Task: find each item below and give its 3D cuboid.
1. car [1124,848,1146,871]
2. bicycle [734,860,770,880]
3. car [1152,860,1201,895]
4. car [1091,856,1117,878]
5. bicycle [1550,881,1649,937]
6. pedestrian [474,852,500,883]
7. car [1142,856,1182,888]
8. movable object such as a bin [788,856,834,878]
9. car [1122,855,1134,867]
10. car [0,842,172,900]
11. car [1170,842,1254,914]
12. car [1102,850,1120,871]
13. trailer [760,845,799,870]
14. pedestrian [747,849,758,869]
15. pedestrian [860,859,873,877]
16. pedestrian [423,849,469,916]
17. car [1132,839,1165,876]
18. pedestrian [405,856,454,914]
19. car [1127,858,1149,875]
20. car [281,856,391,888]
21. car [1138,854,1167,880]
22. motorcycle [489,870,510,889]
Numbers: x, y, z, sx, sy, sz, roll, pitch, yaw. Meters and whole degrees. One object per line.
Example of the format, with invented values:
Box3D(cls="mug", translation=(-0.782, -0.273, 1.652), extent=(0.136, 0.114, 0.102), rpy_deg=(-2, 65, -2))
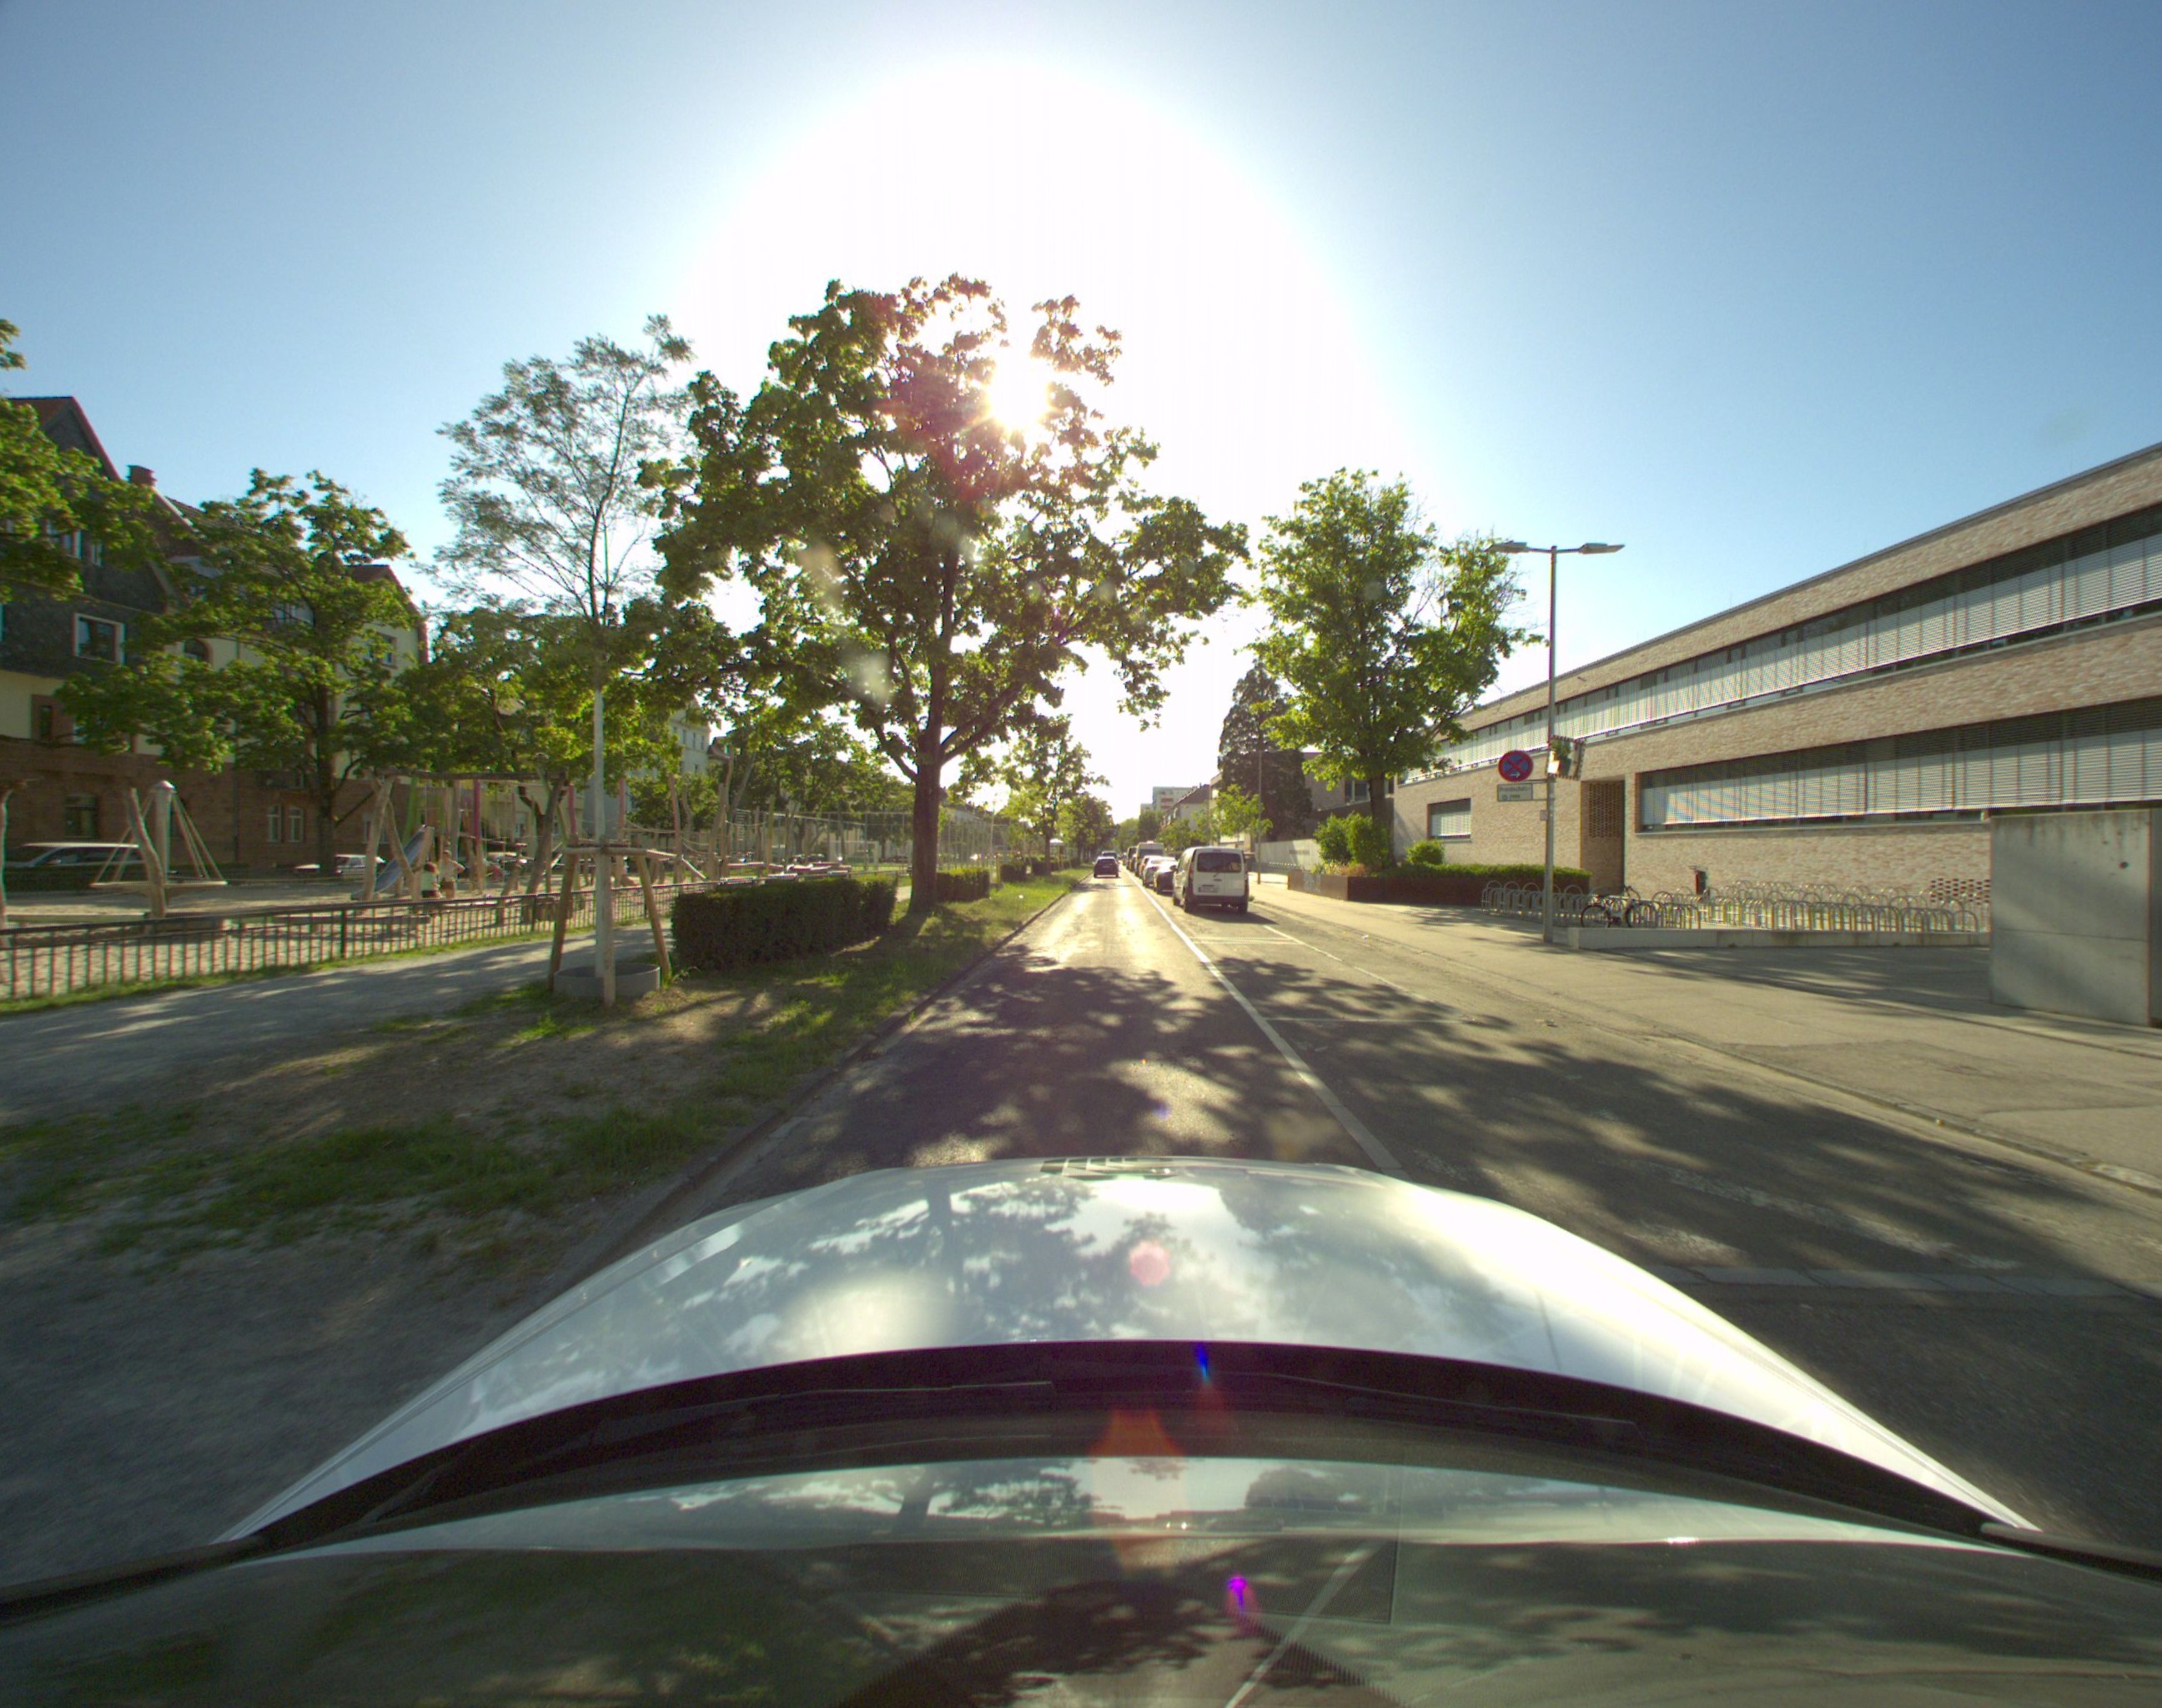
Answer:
Box3D(cls="car", translation=(5.970, 0.605, 90.409), extent=(2.108, 2.516, 6.532), rpy_deg=(0, 0, 1))
Box3D(cls="bicycle", translation=(-18.300, 0.896, 45.357), extent=(1.788, 1.107, 0.500), rpy_deg=(1, 0, 0))
Box3D(cls="car", translation=(3.927, 0.940, 34.128), extent=(1.695, 1.325, 4.131), rpy_deg=(1, 0, 2))
Box3D(cls="car", translation=(1.690, 0.931, 58.191), extent=(1.787, 1.510, 4.003), rpy_deg=(0, 0, 3))
Box3D(cls="bicycle", translation=(10.407, 1.094, 16.360), extent=(1.663, 1.030, 0.500), rpy_deg=(2, 0, -1))
Box3D(cls="pedestrian", translation=(-25.469, 0.578, 34.920), extent=(0.646, 1.318, 0.650), rpy_deg=(1, 0, -1))
Box3D(cls="car", translation=(3.966, 0.874, 40.320), extent=(1.695, 1.478, 4.176), rpy_deg=(1, 0, 2))
Box3D(cls="movable object such as a bin", translation=(-15.488, 0.719, 46.768), extent=(2.324, 1.242, 1.055), rpy_deg=(0, 0, -2))
Box3D(cls="car", translation=(7.181, 1.077, 123.979), extent=(1.786, 1.855, 4.418), rpy_deg=(1, 0, 4))
Box3D(cls="car", translation=(-37.888, 0.587, 30.652), extent=(1.787, 1.982, 4.838), rpy_deg=(1, 0, 2))
Box3D(cls="car", translation=(3.752, 0.657, 24.076), extent=(1.802, 1.908, 4.461), rpy_deg=(1, 0, 1))
Box3D(cls="car", translation=(3.113, 0.681, 83.026), extent=(1.787, 2.122, 4.003), rpy_deg=(0, 0, 3))
Box3D(cls="trailer", translation=(-36.201, 0.437, 97.927), extent=(2.334, 2.870, 5.804), rpy_deg=(1, 0, 1))
Box3D(cls="pedestrian", translation=(-28.071, 0.401, 69.507), extent=(0.645, 1.661, 0.650), rpy_deg=(-1, -1, 2))
Box3D(cls="pedestrian", translation=(-16.023, 1.025, 60.920), extent=(0.642, 1.318, 0.654), rpy_deg=(0, -1, 31))
Box3D(cls="pedestrian", translation=(-16.158, 0.715, 20.733), extent=(0.642, 1.661, 0.653), rpy_deg=(0, -1, 20))
Box3D(cls="car", translation=(4.979, 0.266, 60.869), extent=(2.232, 2.574, 5.435), rpy_deg=(1, 0, 2))
Box3D(cls="pedestrian", translation=(-15.542, 0.728, 19.427), extent=(0.642, 1.329, 0.653), rpy_deg=(0, -1, 20))
Box3D(cls="car", translation=(5.441, 1.194, 78.183), extent=(1.839, 1.640, 4.505), rpy_deg=(0, 0, 1))
Box3D(cls="car", translation=(-37.883, 0.889, 41.553), extent=(1.787, 1.510, 4.002), rpy_deg=(1, 0, 2))
Box3D(cls="car", translation=(4.639, 0.834, 53.251), extent=(1.614, 1.588, 3.591), rpy_deg=(1, 0, 0))
Box3D(cls="motorcycle", translation=(-25.527, 1.118, 35.737), extent=(0.699, 0.826, 0.284), rpy_deg=(1, 0, 0))
